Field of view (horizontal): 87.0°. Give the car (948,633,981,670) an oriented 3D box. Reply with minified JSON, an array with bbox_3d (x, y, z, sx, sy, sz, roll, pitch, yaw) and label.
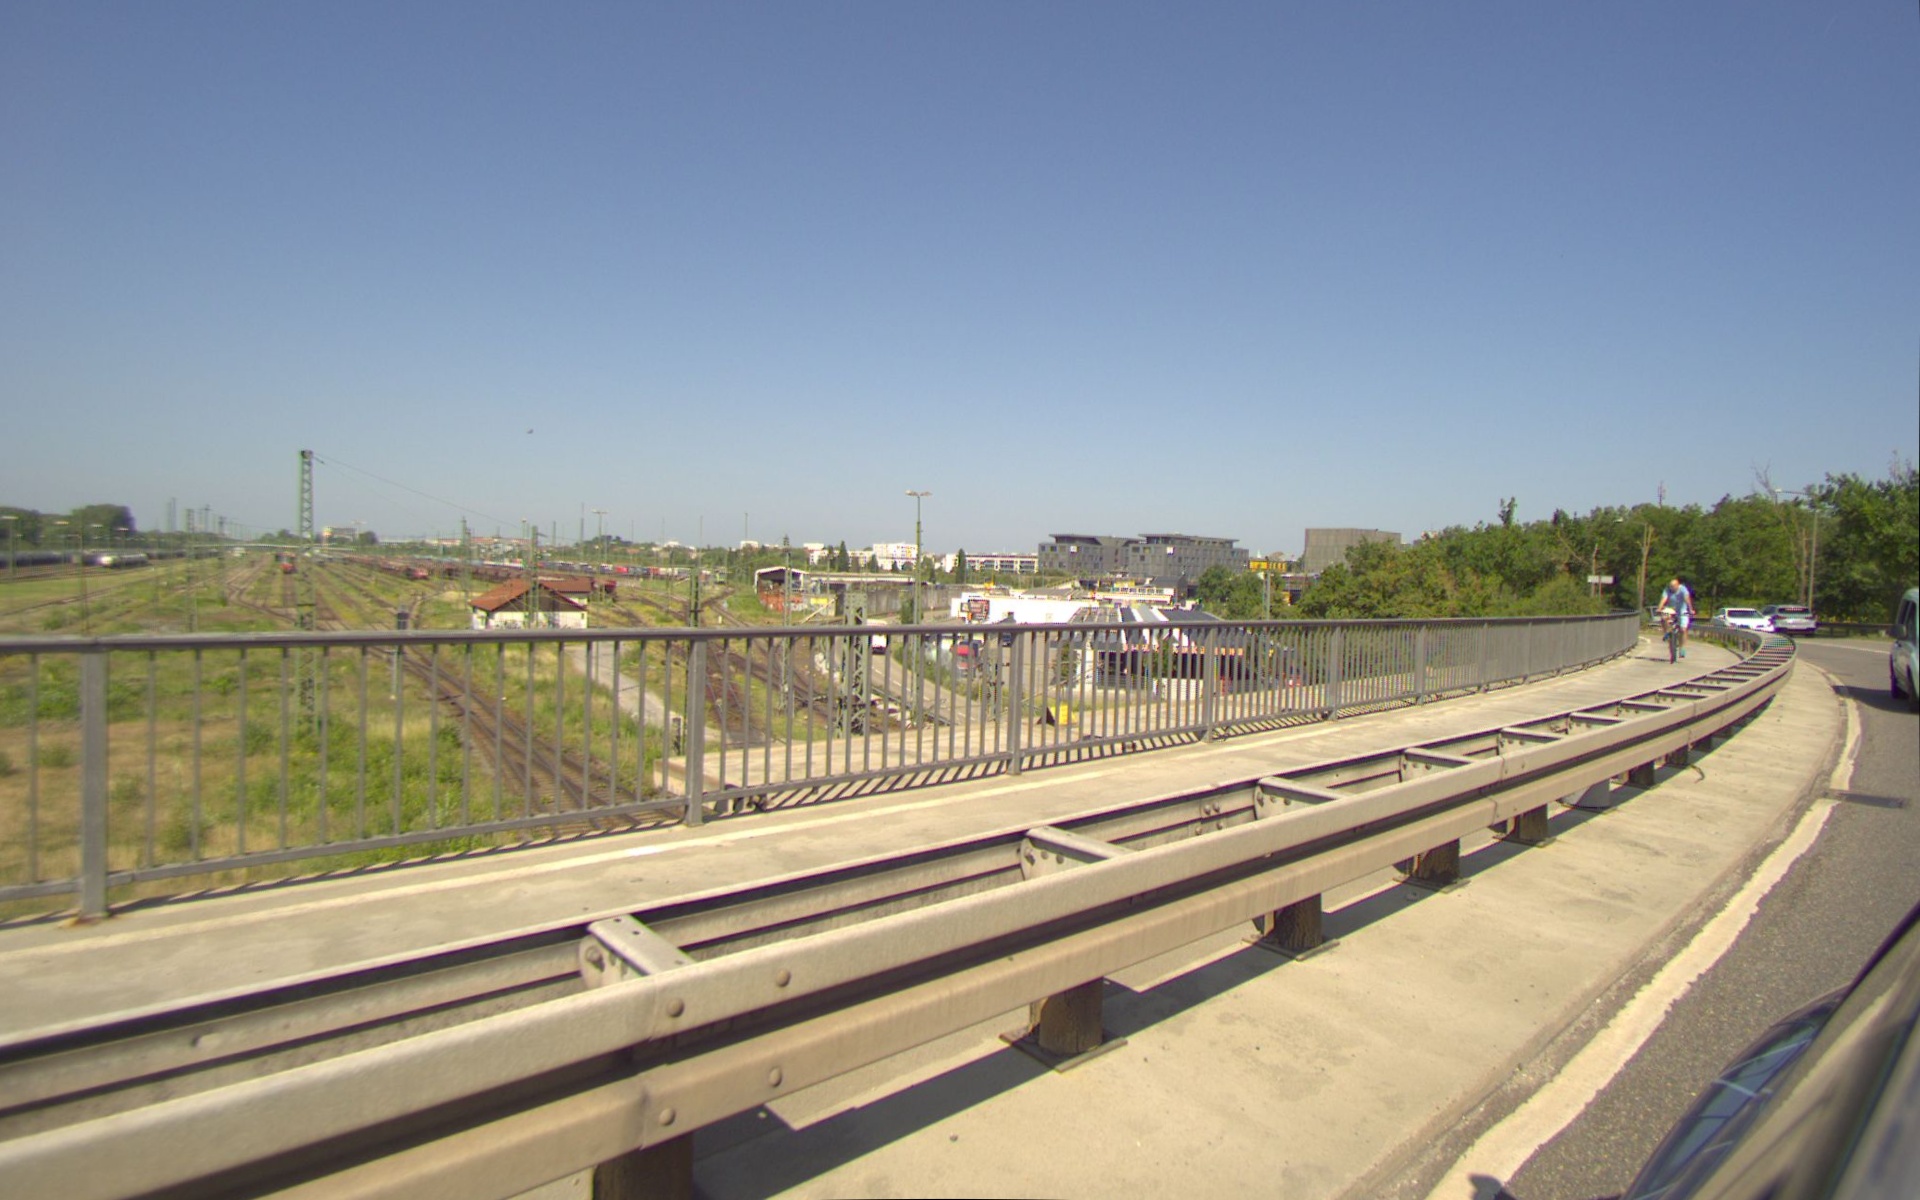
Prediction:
[{"bbox_3d":[0.457,4.631,91.659,2.268,2.696,5.371,-4,2,6],"label":"car"}]

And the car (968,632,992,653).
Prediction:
[{"bbox_3d":[2.083,4.414,104.492,1.966,1.894,3.993,-4,-1,6],"label":"car"}]

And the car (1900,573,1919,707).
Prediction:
[{"bbox_3d":[15.102,0.551,14.802,1.891,1.818,4.380,0,0,42],"label":"car"}]

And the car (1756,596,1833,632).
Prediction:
[{"bbox_3d":[42.185,0.664,51.280,1.844,1.703,4.436,-1,0,24],"label":"car"}]

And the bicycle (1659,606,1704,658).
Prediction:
[{"bbox_3d":[15.739,0.679,22.092,0.700,1.032,1.822,5,3,35],"label":"bicycle"}]

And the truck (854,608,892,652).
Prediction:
[{"bbox_3d":[-9.843,3.206,113.236,3.745,4.079,13.290,3,1,-6],"label":"truck"}]

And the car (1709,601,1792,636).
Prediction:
[{"bbox_3d":[36.404,0.813,46.730,1.825,1.507,4.123,0,0,21],"label":"car"}]

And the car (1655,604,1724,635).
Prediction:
[{"bbox_3d":[40.817,1.097,56.761,1.973,1.605,3.975,1,-2,18],"label":"car"}]

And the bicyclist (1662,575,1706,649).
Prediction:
[{"bbox_3d":[15.687,0.250,21.940,0.656,1.538,0.793,4,2,34],"label":"bicyclist"}]
